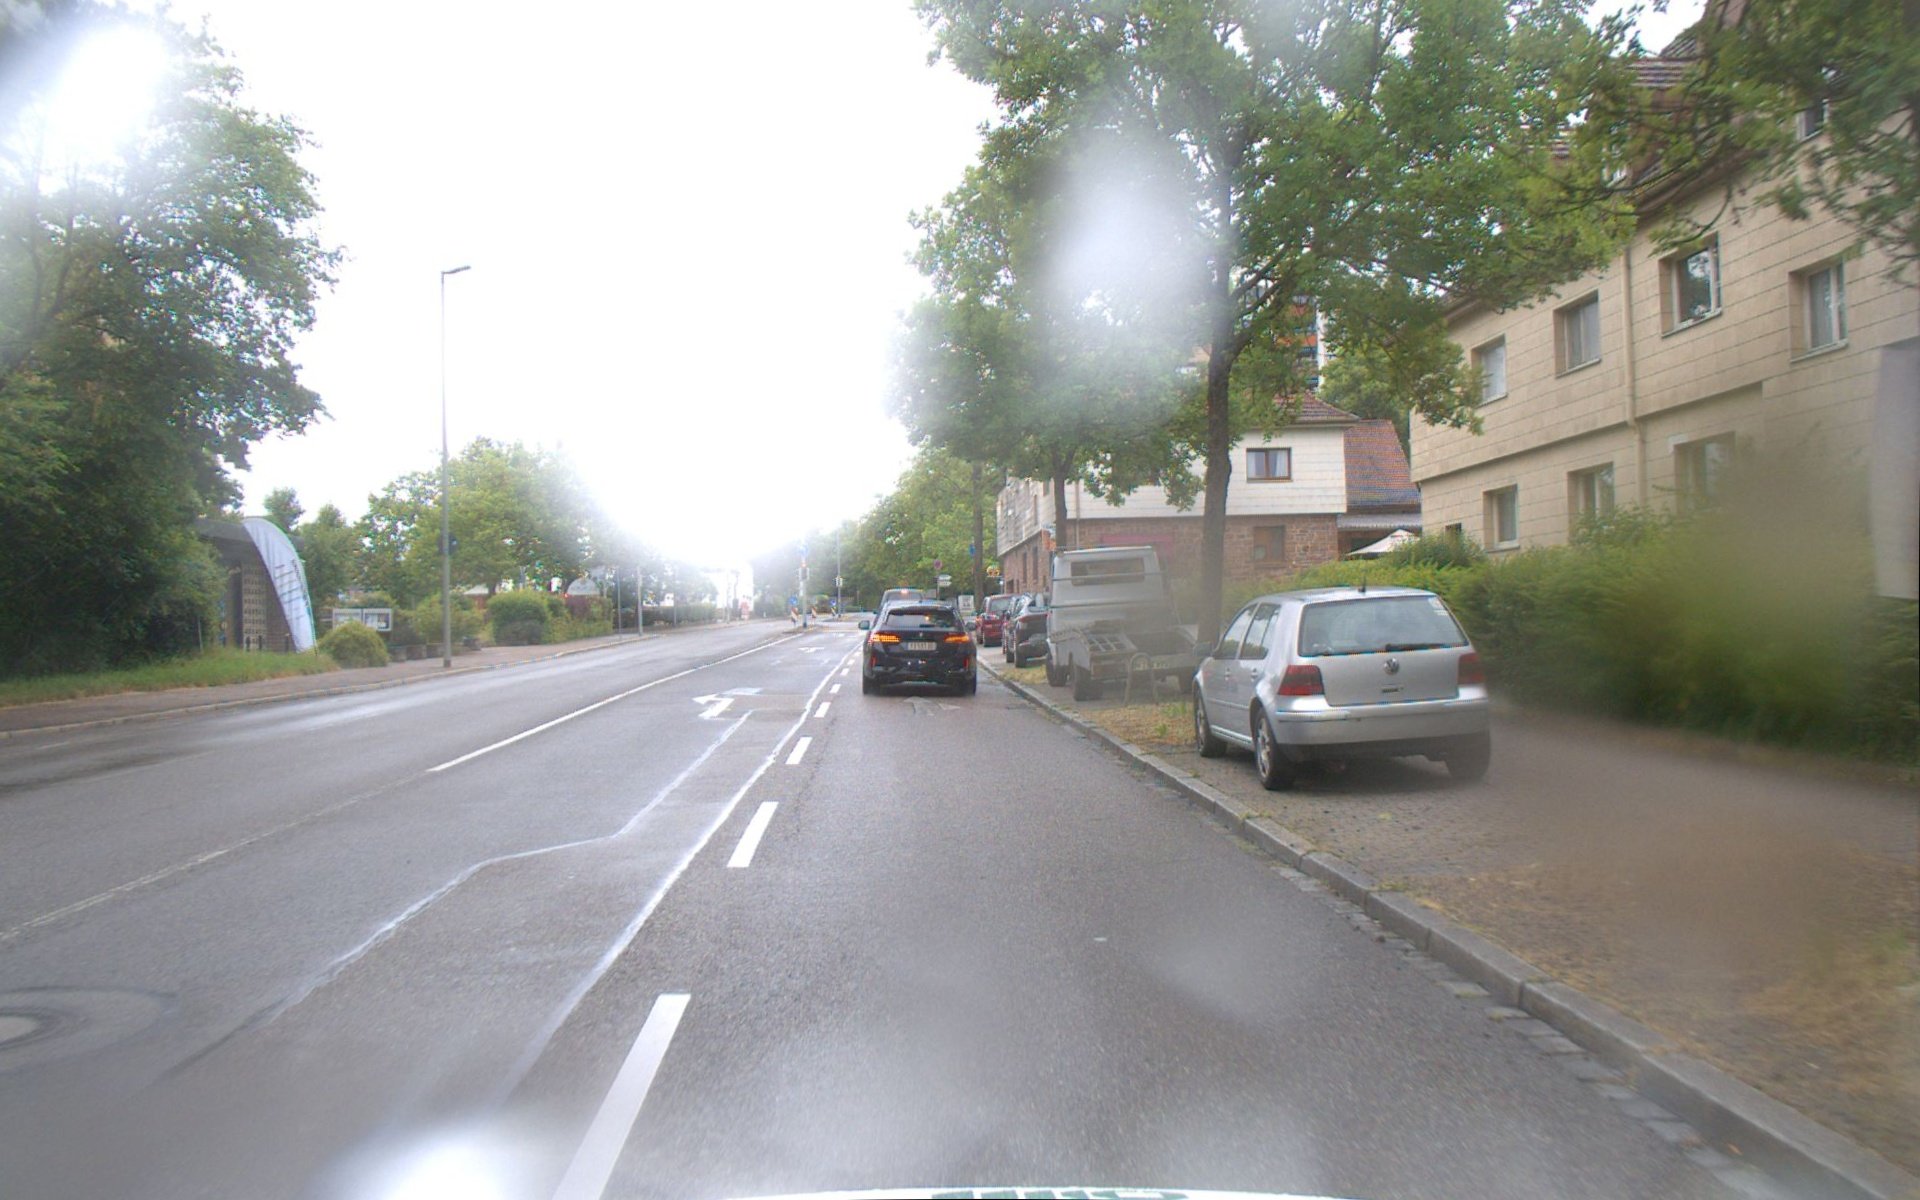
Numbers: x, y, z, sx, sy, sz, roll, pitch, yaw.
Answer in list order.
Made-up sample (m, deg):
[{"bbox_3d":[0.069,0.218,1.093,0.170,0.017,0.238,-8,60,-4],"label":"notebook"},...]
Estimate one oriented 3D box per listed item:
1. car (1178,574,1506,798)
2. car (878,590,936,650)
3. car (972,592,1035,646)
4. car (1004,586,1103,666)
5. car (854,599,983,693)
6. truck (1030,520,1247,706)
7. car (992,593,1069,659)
[{"bbox_3d":[2.953,0.594,13.640,1.569,1.461,4.020,-4,0,-2],"label":"car"},{"bbox_3d":[-1.747,0.634,53.358,1.748,1.849,3.997,-1,0,-3],"label":"car"},{"bbox_3d":[1.323,0.565,51.446,1.553,1.516,3.624,-4,0,-4],"label":"car"},{"bbox_3d":[1.969,0.541,35.956,1.680,1.524,4.181,-4,0,-2],"label":"car"},{"bbox_3d":[-0.796,0.744,28.332,2.023,1.472,4.479,0,-1,-4],"label":"car"},{"bbox_3d":[2.452,0.179,24.640,2.039,2.260,6.497,-4,0,-3],"label":"truck"},{"bbox_3d":[1.745,0.632,41.935,1.572,1.497,3.854,-4,0,-2],"label":"car"}]
